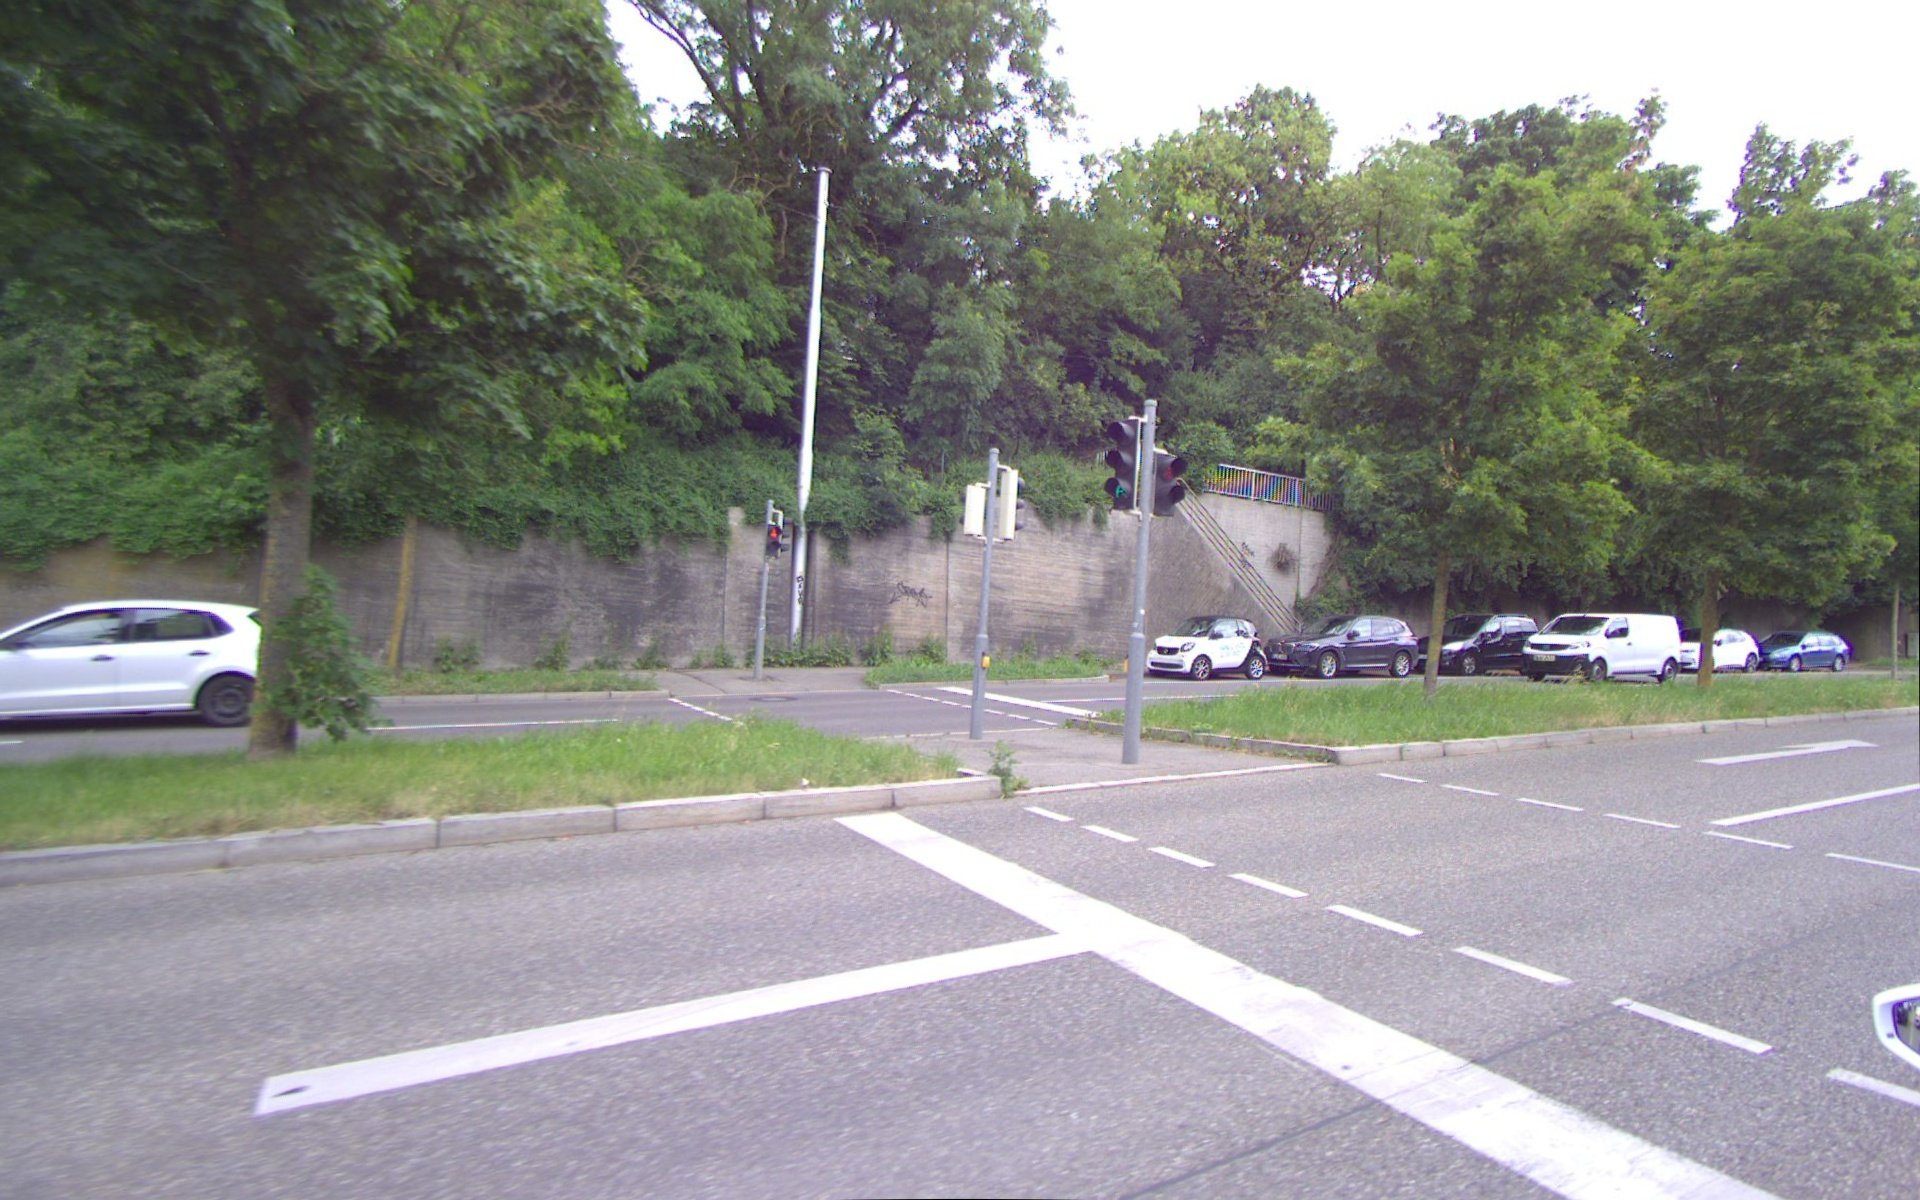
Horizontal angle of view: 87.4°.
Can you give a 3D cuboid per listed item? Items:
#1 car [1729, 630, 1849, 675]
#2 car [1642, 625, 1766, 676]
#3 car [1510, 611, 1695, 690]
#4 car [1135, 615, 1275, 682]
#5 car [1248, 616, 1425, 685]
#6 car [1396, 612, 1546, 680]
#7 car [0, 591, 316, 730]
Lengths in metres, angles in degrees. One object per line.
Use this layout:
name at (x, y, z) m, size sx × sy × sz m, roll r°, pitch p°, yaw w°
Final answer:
car at (31.323, 1.941, 37.952) m, size 4.240 × 1.549 × 1.708 m, roll 1°, pitch 1°, yaw -23°
car at (26.314, 1.746, 35.529) m, size 4.114 × 1.651 × 1.774 m, roll 1°, pitch 1°, yaw -25°
car at (17.787, 1.370, 27.802) m, size 4.953 × 1.984 × 1.933 m, roll 1°, pitch 0°, yaw -25°
car at (6.138, 1.178, 25.133) m, size 3.063 × 1.518 × 1.770 m, roll 1°, pitch 1°, yaw -32°
car at (10.210, 1.342, 27.198) m, size 4.474 × 1.679 × 1.962 m, roll 2°, pitch 0°, yaw -27°
car at (15.267, 1.330, 29.980) m, size 4.432 × 1.867 × 1.772 m, roll 1°, pitch 1°, yaw -28°
car at (-9.872, 0.660, 11.813) m, size 3.746 × 1.447 × 1.720 m, roll 2°, pitch 0°, yaw -31°
